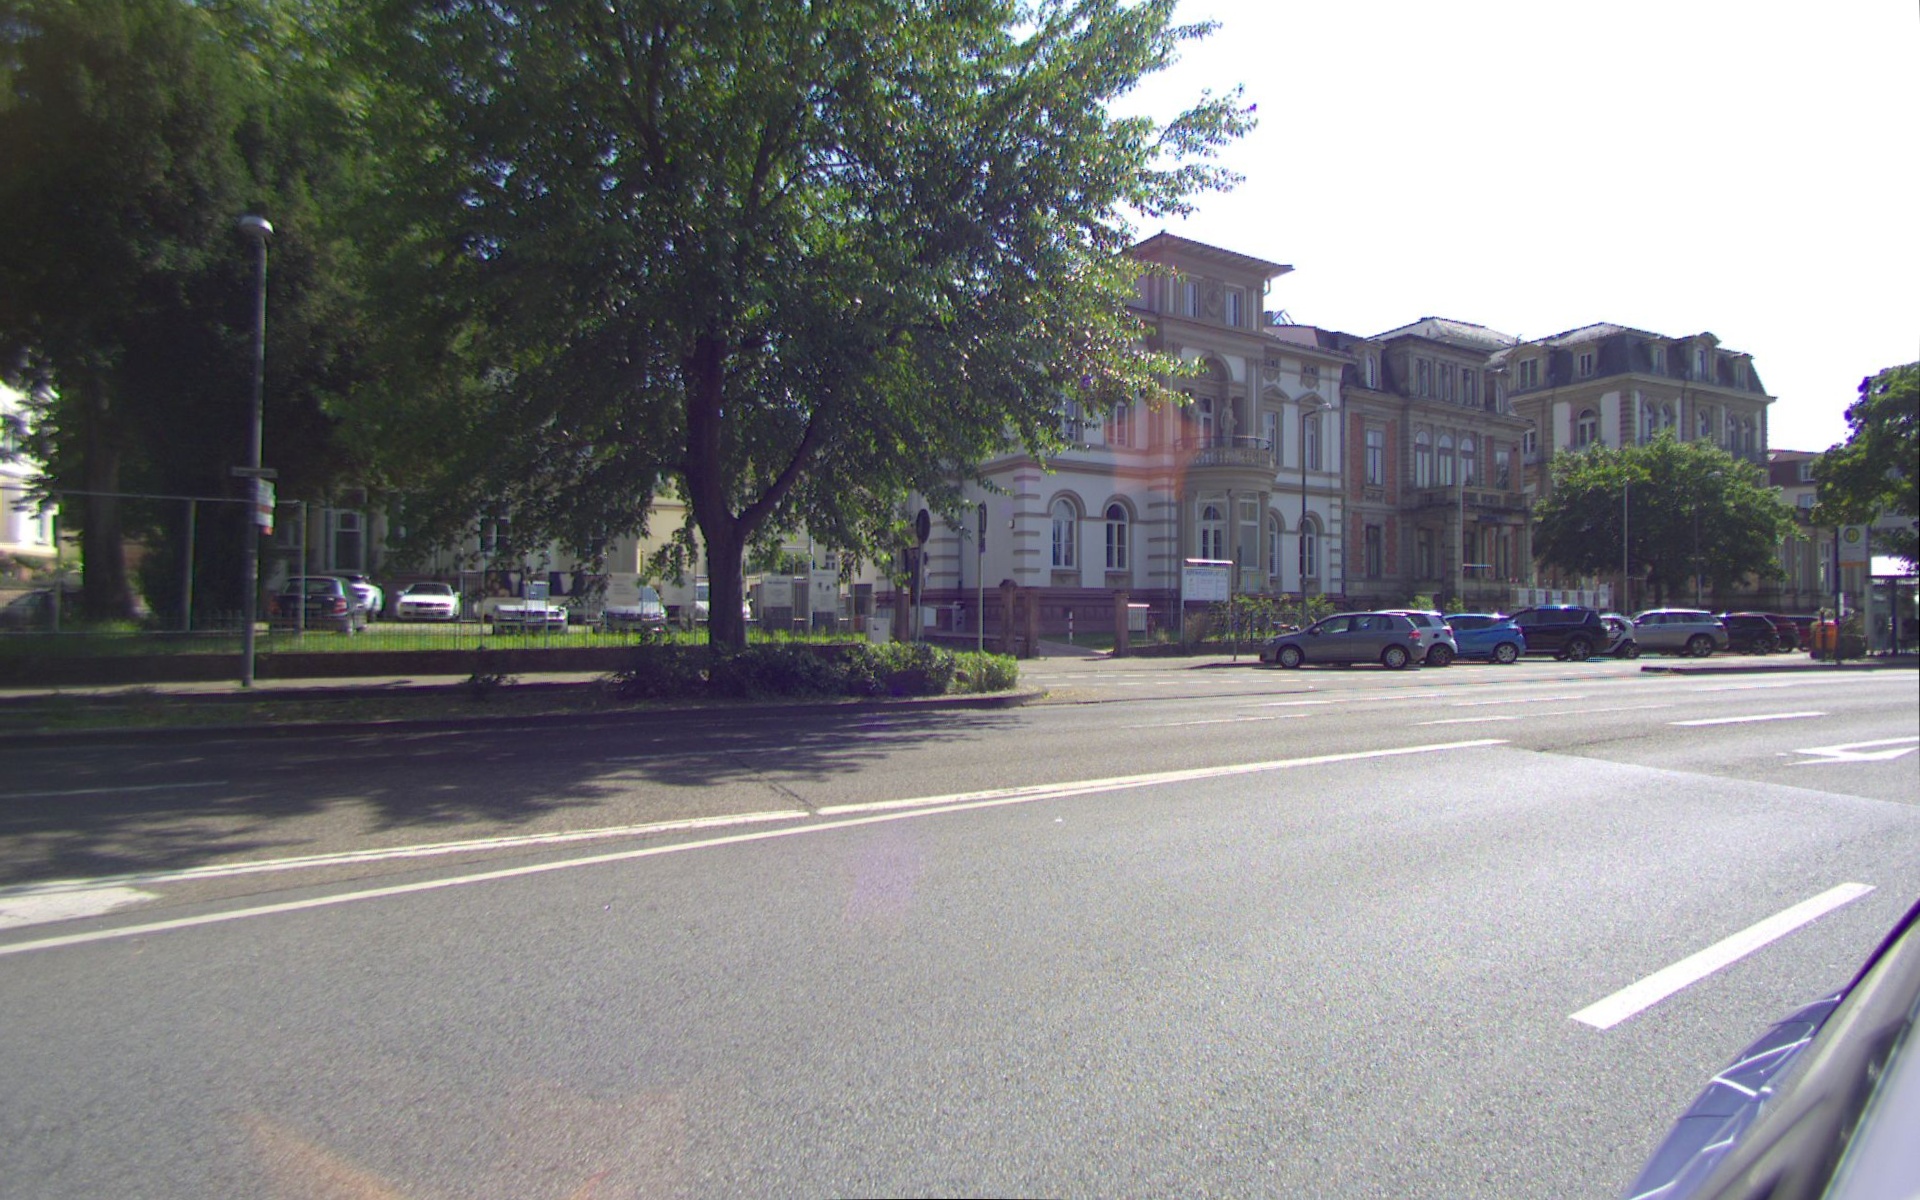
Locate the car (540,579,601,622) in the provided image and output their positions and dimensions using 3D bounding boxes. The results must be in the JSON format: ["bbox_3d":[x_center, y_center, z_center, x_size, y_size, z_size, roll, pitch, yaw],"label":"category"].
[{"bbox_3d":[-14.072,0.017,36.428,1.784,1.437,4.069,0,0,-25],"label":"car"}]

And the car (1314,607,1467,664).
[{"bbox_3d":[11.923,0.967,28.307,3.760,1.531,1.703,0,-1,18],"label":"car"}]

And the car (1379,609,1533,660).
[{"bbox_3d":[14.540,0.995,29.870,3.756,1.461,1.705,0,-1,15],"label":"car"}]

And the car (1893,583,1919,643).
[{"bbox_3d":[44.506,0.606,45.771,5.213,2.637,2.001,1,-1,-32],"label":"car"}]

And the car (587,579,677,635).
[{"bbox_3d":[-8.694,0.173,26.654,1.784,1.353,4.105,0,0,-25],"label":"car"}]

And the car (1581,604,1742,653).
[{"bbox_3d":[24.436,0.973,35.402,4.257,1.650,1.704,0,-1,17],"label":"car"}]

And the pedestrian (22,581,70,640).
[{"bbox_3d":[-24.755,0.277,27.407,0.754,1.566,0.668,1,0,-21],"label":"pedestrian"}]

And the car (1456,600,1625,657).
[{"bbox_3d":[18.046,0.879,31.662,4.212,1.718,1.705,0,-1,15],"label":"car"}]

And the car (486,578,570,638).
[{"bbox_3d":[-10.922,0.186,25.472,1.784,1.353,4.488,0,0,-25],"label":"car"}]

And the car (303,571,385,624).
[{"bbox_3d":[-20.083,-0.083,33.130,1.784,1.624,4.329,0,0,-25],"label":"car"}]

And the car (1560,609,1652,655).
[{"bbox_3d":[21.407,1.043,33.590,2.253,1.502,1.197,0,-1,12],"label":"car"}]

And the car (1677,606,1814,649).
[{"bbox_3d":[30.455,1.052,39.379,3.831,1.595,1.737,0,-1,22],"label":"car"}]

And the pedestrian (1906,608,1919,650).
[{"bbox_3d":[27.995,0.841,29.148,0.778,1.213,1.019,1,-2,-43],"label":"pedestrian"}]

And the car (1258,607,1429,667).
[{"bbox_3d":[10.018,0.935,26.598,4.058,1.480,1.814,0,-1,22],"label":"car"}]

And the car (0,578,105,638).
[{"bbox_3d":[-27.233,0.212,29.886,1.795,1.667,4.141,1,0,-22],"label":"car"}]

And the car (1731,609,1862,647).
[{"bbox_3d":[33.557,1.109,40.709,3.656,1.436,1.736,0,-1,22],"label":"car"}]

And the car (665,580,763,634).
[{"bbox_3d":[-6.750,0.178,27.472,1.822,1.353,4.060,0,0,-25],"label":"car"}]

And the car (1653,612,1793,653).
[{"bbox_3d":[27.873,1.159,37.102,3.775,1.435,1.594,0,-1,22],"label":"car"}]

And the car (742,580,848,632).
[{"bbox_3d":[-4.733,0.148,28.510,1.950,1.353,4.060,0,0,-25],"label":"car"}]

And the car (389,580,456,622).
[{"bbox_3d":[-18.330,0.023,34.650,1.784,1.353,4.060,0,0,-25],"label":"car"}]

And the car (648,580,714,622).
[{"bbox_3d":[-10.796,0.036,38.955,1.827,1.528,4.069,0,0,-25],"label":"car"}]

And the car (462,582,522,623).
[{"bbox_3d":[-16.468,0.071,35.653,1.784,1.353,4.096,0,0,-25],"label":"car"}]

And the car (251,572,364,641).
[{"bbox_3d":[-15.408,0.140,24.100,1.839,1.494,4.162,0,0,-27],"label":"car"}]

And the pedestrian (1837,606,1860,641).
[{"bbox_3d":[45.867,1.206,52.235,0.707,1.774,0.702,1,-1,-33],"label":"pedestrian"}]
